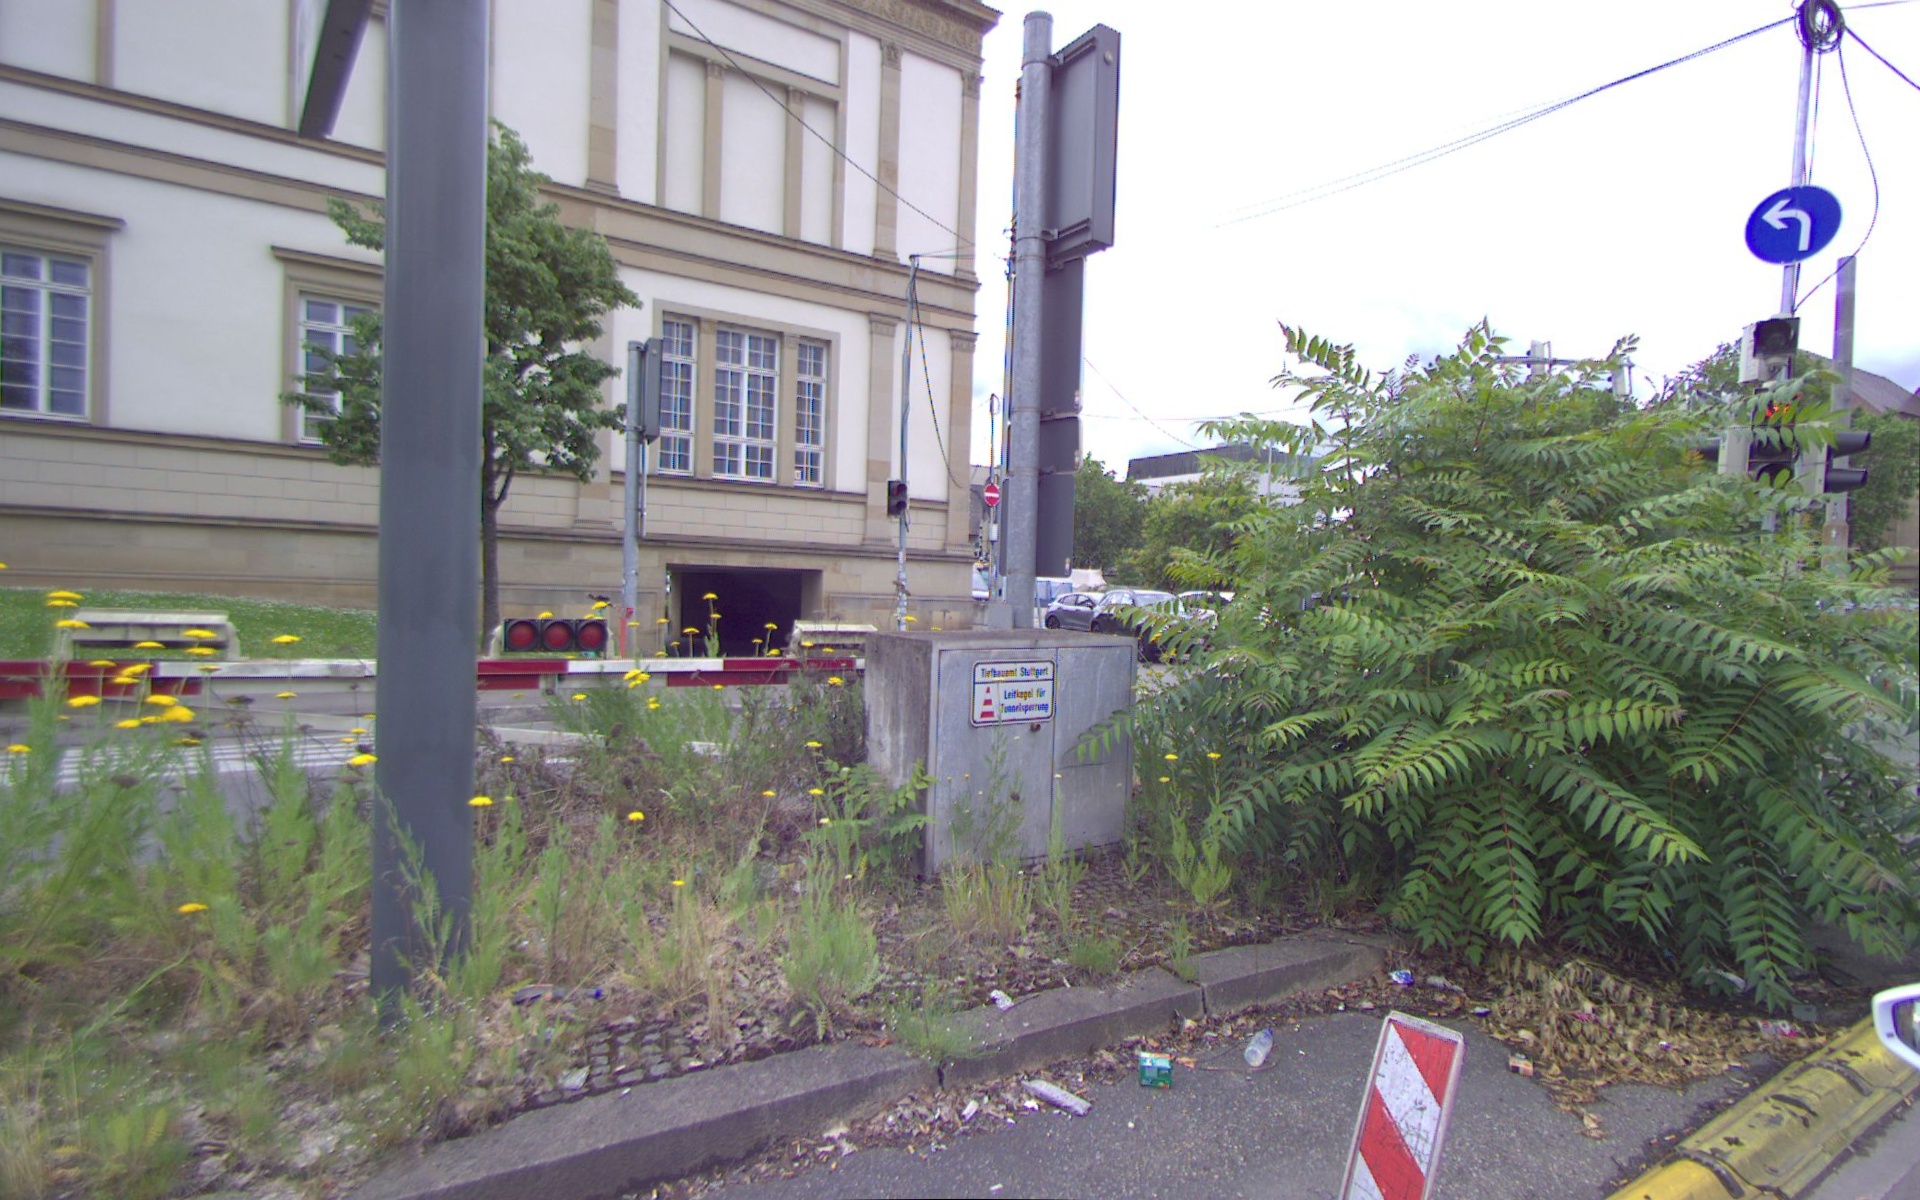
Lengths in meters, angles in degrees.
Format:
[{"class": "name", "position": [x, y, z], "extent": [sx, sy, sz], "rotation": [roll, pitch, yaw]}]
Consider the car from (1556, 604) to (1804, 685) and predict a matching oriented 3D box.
[{"class": "car", "position": [16.032, 0.933, 22.573], "extent": [1.979, 1.568, 4.083], "rotation": [2, 0, -33]}]

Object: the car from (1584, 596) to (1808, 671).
[{"class": "car", "position": [20.320, 0.874, 27.968], "extent": [1.849, 1.858, 4.680], "rotation": [2, 0, -32]}]

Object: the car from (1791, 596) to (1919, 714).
[{"class": "car", "position": [16.111, 0.905, 15.809], "extent": [1.977, 1.829, 4.248], "rotation": [2, 0, -30]}]

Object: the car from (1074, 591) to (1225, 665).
[{"class": "car", "position": [4.564, 0.635, 24.864], "extent": [1.855, 1.647, 4.355], "rotation": [2, 0, -17]}]

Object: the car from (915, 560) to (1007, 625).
[{"class": "car", "position": [0.006, -0.307, 42.691], "extent": [1.978, 2.585, 4.083], "rotation": [2, 0, -32]}]

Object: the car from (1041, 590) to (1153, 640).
[{"class": "car", "position": [4.573, 0.485, 34.083], "extent": [1.695, 1.563, 3.830], "rotation": [2, 0, -32]}]

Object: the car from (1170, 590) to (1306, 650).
[{"class": "car", "position": [9.083, 0.615, 33.103], "extent": [1.889, 1.763, 4.051], "rotation": [2, 1, -32]}]

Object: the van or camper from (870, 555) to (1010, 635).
[{"class": "van or camper", "position": [-0.861, -0.197, 36.442], "extent": [2.137, 2.645, 6.025], "rotation": [1, 0, -34]}]
